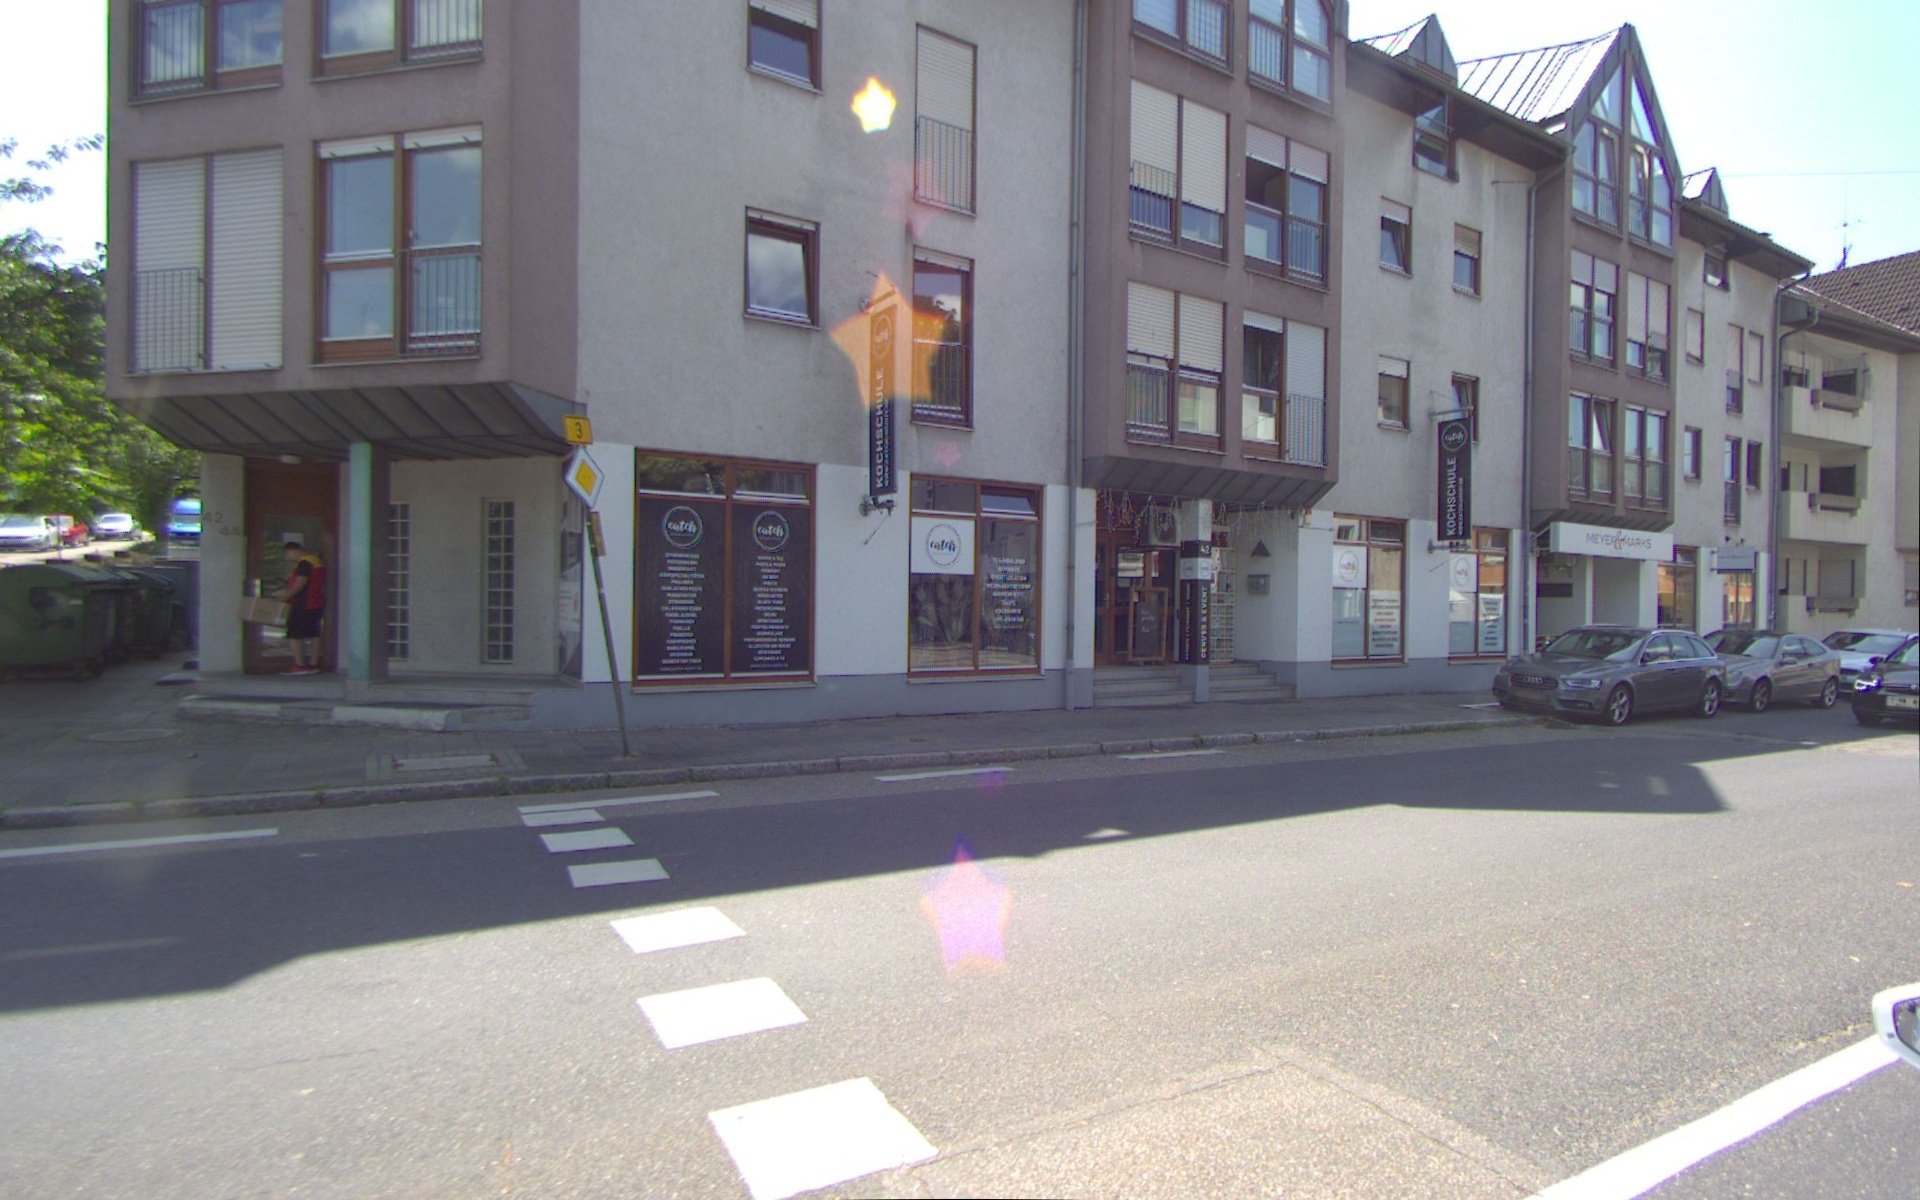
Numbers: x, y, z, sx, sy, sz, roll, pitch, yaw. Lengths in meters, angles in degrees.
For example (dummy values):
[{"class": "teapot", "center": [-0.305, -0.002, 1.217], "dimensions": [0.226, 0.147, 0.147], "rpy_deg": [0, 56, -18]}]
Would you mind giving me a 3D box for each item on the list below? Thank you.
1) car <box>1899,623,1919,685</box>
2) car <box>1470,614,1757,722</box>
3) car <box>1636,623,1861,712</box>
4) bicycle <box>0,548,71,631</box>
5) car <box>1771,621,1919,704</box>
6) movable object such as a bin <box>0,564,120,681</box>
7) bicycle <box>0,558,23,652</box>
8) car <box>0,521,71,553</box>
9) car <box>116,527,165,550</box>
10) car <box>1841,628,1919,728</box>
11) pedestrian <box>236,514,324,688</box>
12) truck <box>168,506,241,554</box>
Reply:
[{"class": "car", "center": [26.049, 1.444, 25.622], "dimensions": [4.335, 1.509, 1.830], "rpy_deg": [2, 2, -30]}, {"class": "car", "center": [10.806, 1.069, 16.532], "dimensions": [4.908, 1.467, 1.831], "rpy_deg": [2, 2, -29]}, {"class": "car", "center": [14.940, 1.234, 18.988], "dimensions": [4.275, 1.402, 1.831], "rpy_deg": [2, 2, -30]}, {"class": "bicycle", "center": [-15.083, -0.165, 16.197], "dimensions": [0.749, 1.251, 2.243], "rpy_deg": [1, -1, -33]}, {"class": "car", "center": [19.502, 1.296, 21.545], "dimensions": [4.336, 1.509, 1.830], "rpy_deg": [2, 2, -31]}, {"class": "movable object such as a bin", "center": [-11.456, 0.264, 12.745], "dimensions": [1.076, 1.385, 1.265], "rpy_deg": [1, 1, -35]}, {"class": "bicycle", "center": [-13.121, 0.058, 13.234], "dimensions": [0.749, 1.251, 2.243], "rpy_deg": [1, -1, -33]}, {"class": "car", "center": [-37.524, -2.583, 40.678], "dimensions": [1.541, 1.247, 3.759], "rpy_deg": [-2, 5, -31]}, {"class": "car", "center": [-46.280, -3.490, 56.802], "dimensions": [1.541, 1.247, 3.759], "rpy_deg": [-2, 5, -31]}, {"class": "car", "center": [15.819, 1.195, 15.720], "dimensions": [4.171, 1.438, 1.735], "rpy_deg": [2, -1, -29]}, {"class": "pedestrian", "center": [-8.299, 0.011, 12.261], "dimensions": [0.831, 2.040, 0.593], "rpy_deg": [1, 1, -37]}, {"class": "truck", "center": [-36.042, -3.374, 48.056], "dimensions": [2.081, 2.063, 5.398], "rpy_deg": [1, 4, -30]}]
